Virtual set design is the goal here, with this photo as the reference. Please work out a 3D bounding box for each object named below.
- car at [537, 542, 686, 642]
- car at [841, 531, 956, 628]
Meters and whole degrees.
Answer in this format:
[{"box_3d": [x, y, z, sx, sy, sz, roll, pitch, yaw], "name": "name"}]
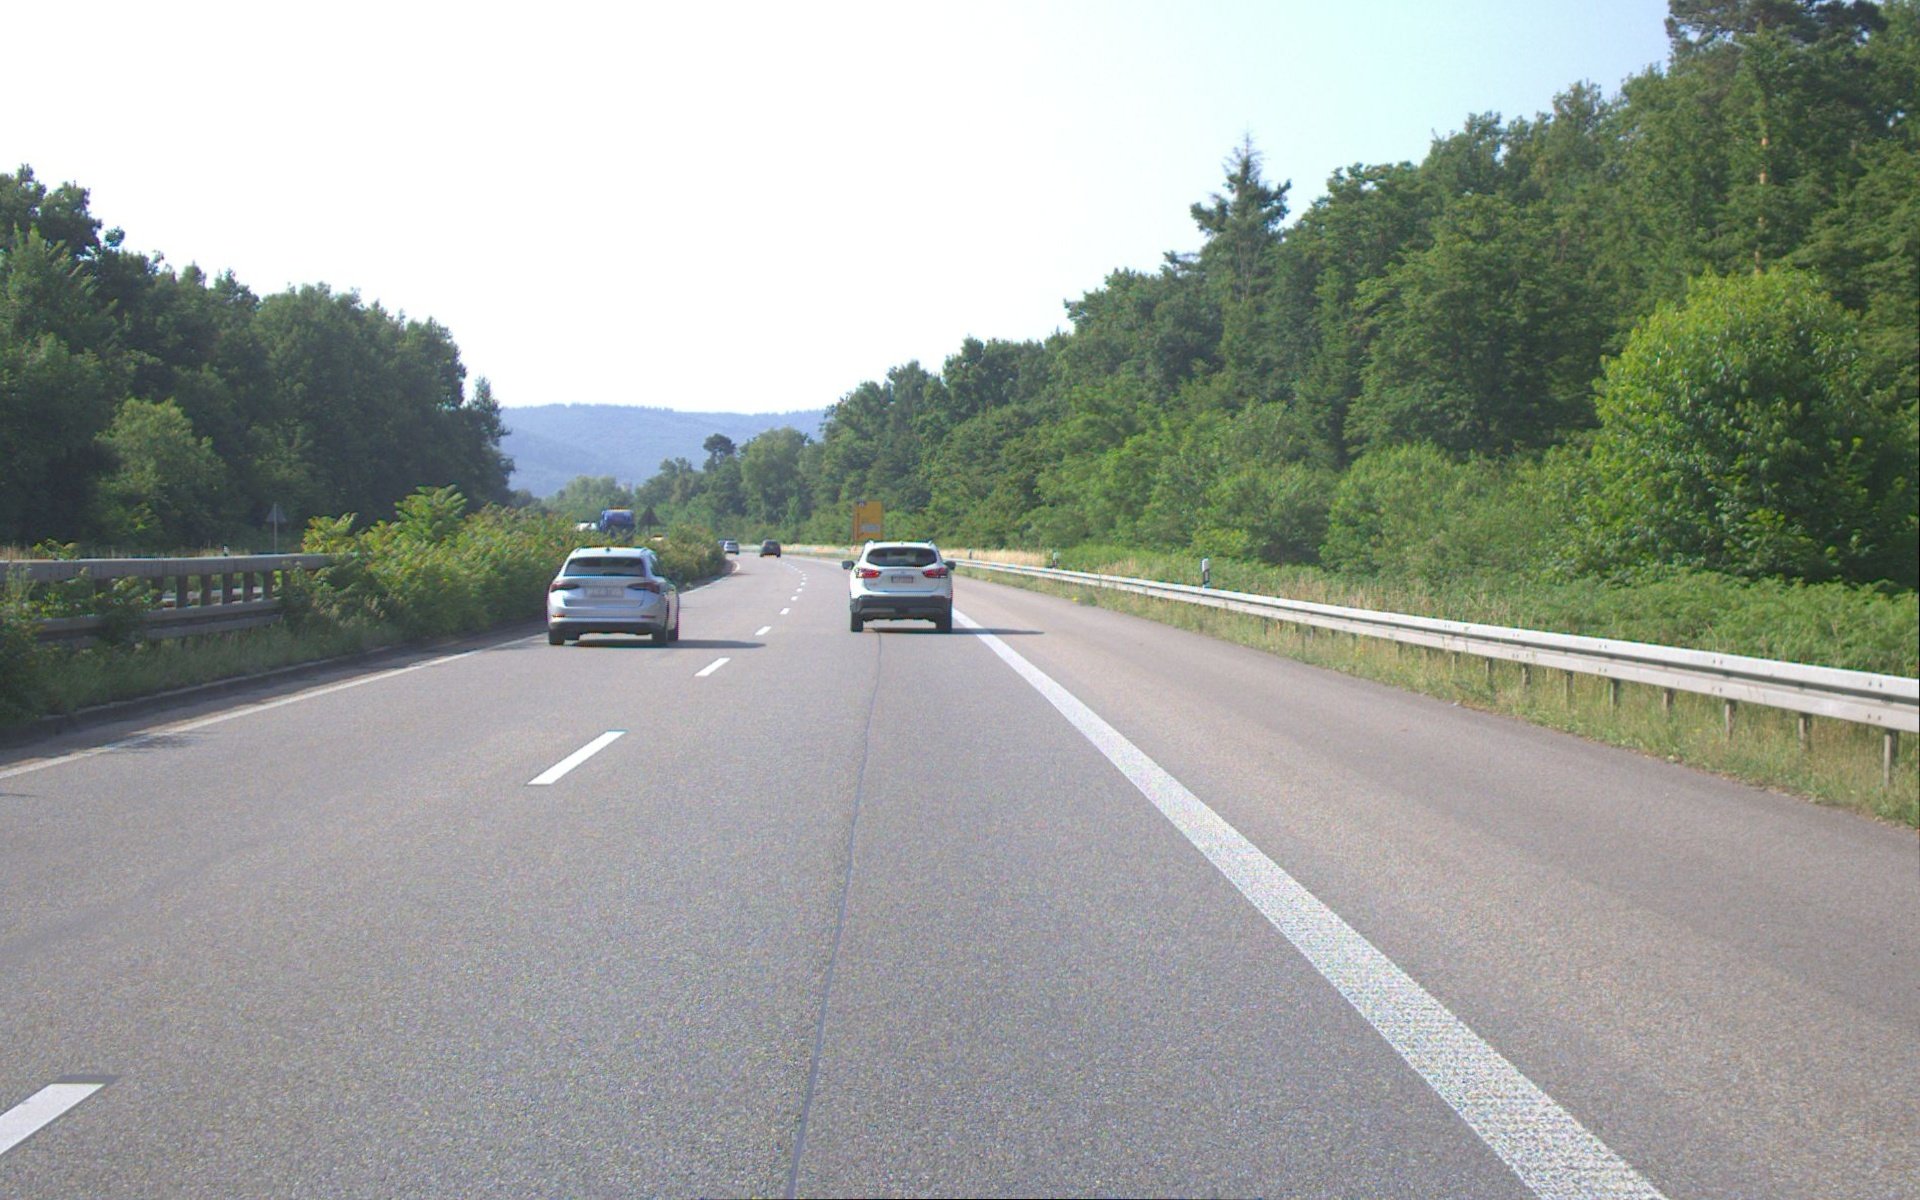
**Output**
[{"box_3d": [-5.253, -0.161, 52.443, 1.792, 1.433, 5.279, 0, 1, -1], "name": "car"}, {"box_3d": [-1.124, -0.390, 61.076, 1.873, 1.581, 4.001, 2, 1, -2], "name": "car"}]
